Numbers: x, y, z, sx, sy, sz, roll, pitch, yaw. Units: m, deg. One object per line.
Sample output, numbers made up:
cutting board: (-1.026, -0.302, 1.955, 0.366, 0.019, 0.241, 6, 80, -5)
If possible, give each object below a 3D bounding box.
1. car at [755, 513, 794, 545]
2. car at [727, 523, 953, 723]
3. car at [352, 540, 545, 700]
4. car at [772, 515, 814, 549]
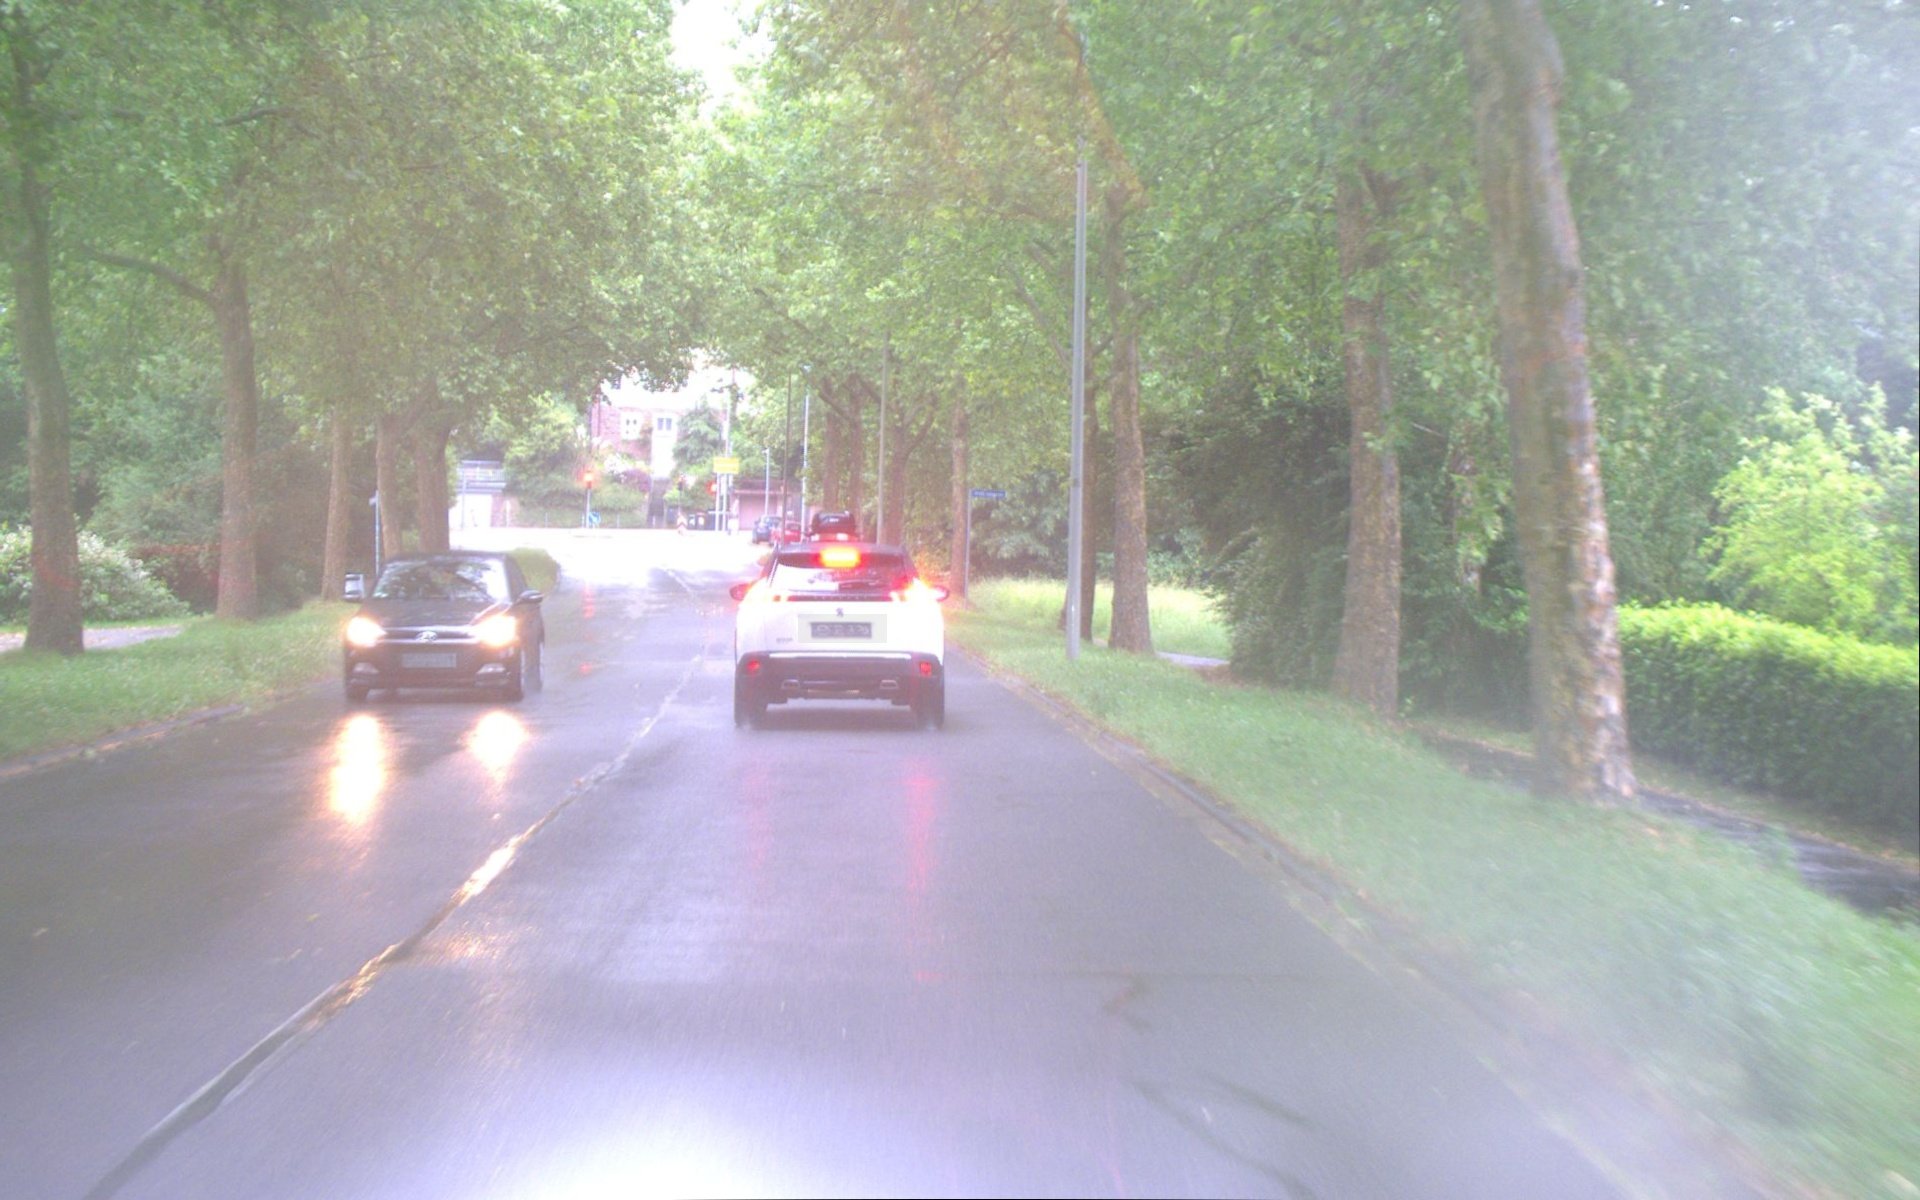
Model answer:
car: (-9.523, -3.636, 176.764, 1.827, 1.590, 3.654, 1, 1, 0)
car: (-0.984, 0.146, 29.998, 1.794, 1.573, 3.844, 1, 2, 0)
car: (-5.074, 0.158, 34.480, 1.706, 1.481, 3.882, 1, 1, -6)
car: (-8.113, -3.315, 167.112, 1.827, 1.590, 3.654, 1, 1, 0)
